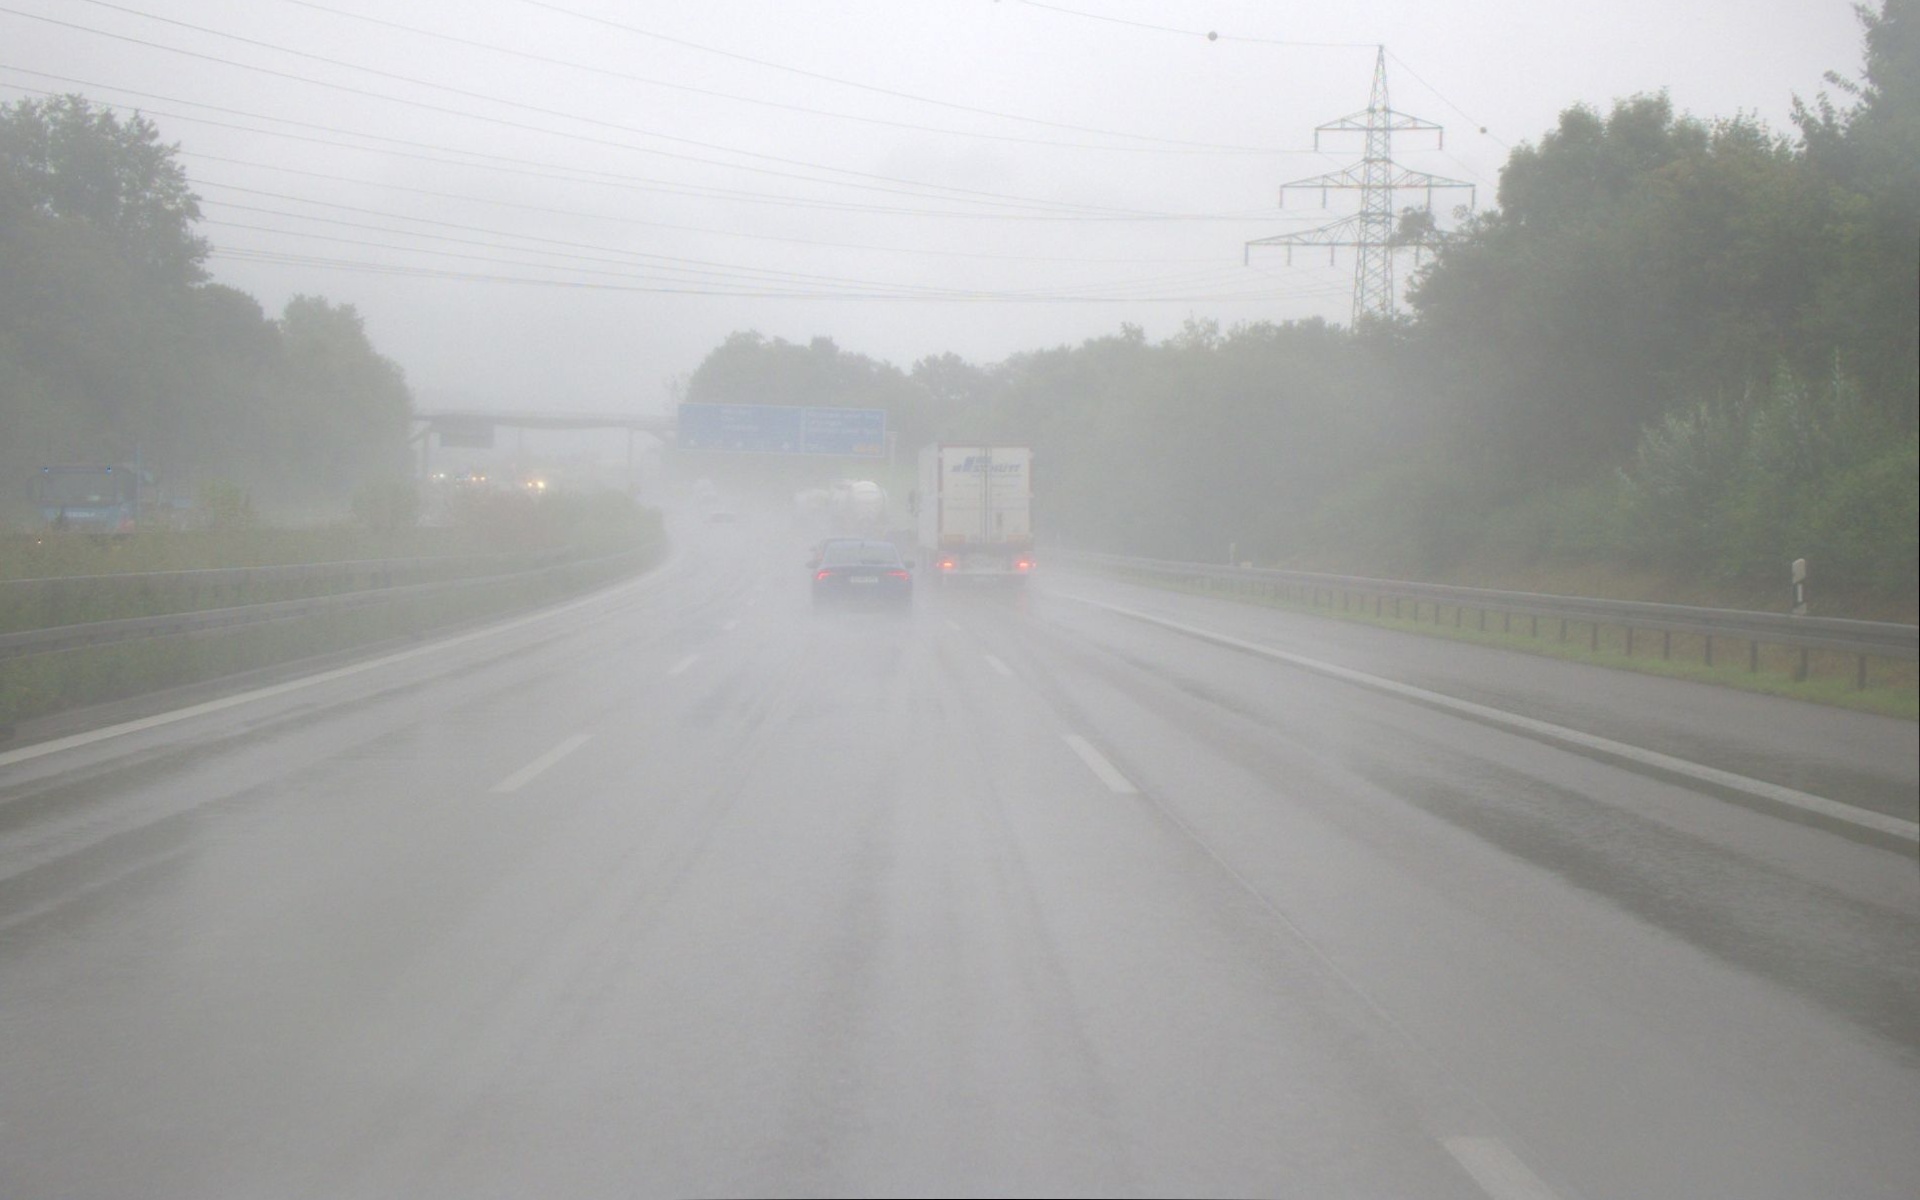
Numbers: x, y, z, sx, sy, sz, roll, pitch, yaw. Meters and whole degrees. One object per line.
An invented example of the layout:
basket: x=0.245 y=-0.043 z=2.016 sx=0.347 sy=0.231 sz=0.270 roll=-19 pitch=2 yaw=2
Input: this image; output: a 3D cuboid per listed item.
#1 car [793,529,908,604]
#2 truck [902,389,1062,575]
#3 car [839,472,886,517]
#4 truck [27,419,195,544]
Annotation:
car: x=-1.917 y=-0.617 z=61.401 sx=1.749 sy=1.208 sz=4.000 roll=3 pitch=1 yaw=2
truck: x=0.604 y=-3.379 z=100.744 sx=4.256 sy=4.955 sz=17.342 roll=0 pitch=1 yaw=0
car: x=-5.243 y=-5.679 z=184.811 sx=2.393 sy=2.264 sz=5.003 roll=2 pitch=2 yaw=-2
truck: x=-24.451 y=-3.398 z=99.386 sx=3.068 sy=3.265 sz=7.392 roll=4 pitch=1 yaw=-2
